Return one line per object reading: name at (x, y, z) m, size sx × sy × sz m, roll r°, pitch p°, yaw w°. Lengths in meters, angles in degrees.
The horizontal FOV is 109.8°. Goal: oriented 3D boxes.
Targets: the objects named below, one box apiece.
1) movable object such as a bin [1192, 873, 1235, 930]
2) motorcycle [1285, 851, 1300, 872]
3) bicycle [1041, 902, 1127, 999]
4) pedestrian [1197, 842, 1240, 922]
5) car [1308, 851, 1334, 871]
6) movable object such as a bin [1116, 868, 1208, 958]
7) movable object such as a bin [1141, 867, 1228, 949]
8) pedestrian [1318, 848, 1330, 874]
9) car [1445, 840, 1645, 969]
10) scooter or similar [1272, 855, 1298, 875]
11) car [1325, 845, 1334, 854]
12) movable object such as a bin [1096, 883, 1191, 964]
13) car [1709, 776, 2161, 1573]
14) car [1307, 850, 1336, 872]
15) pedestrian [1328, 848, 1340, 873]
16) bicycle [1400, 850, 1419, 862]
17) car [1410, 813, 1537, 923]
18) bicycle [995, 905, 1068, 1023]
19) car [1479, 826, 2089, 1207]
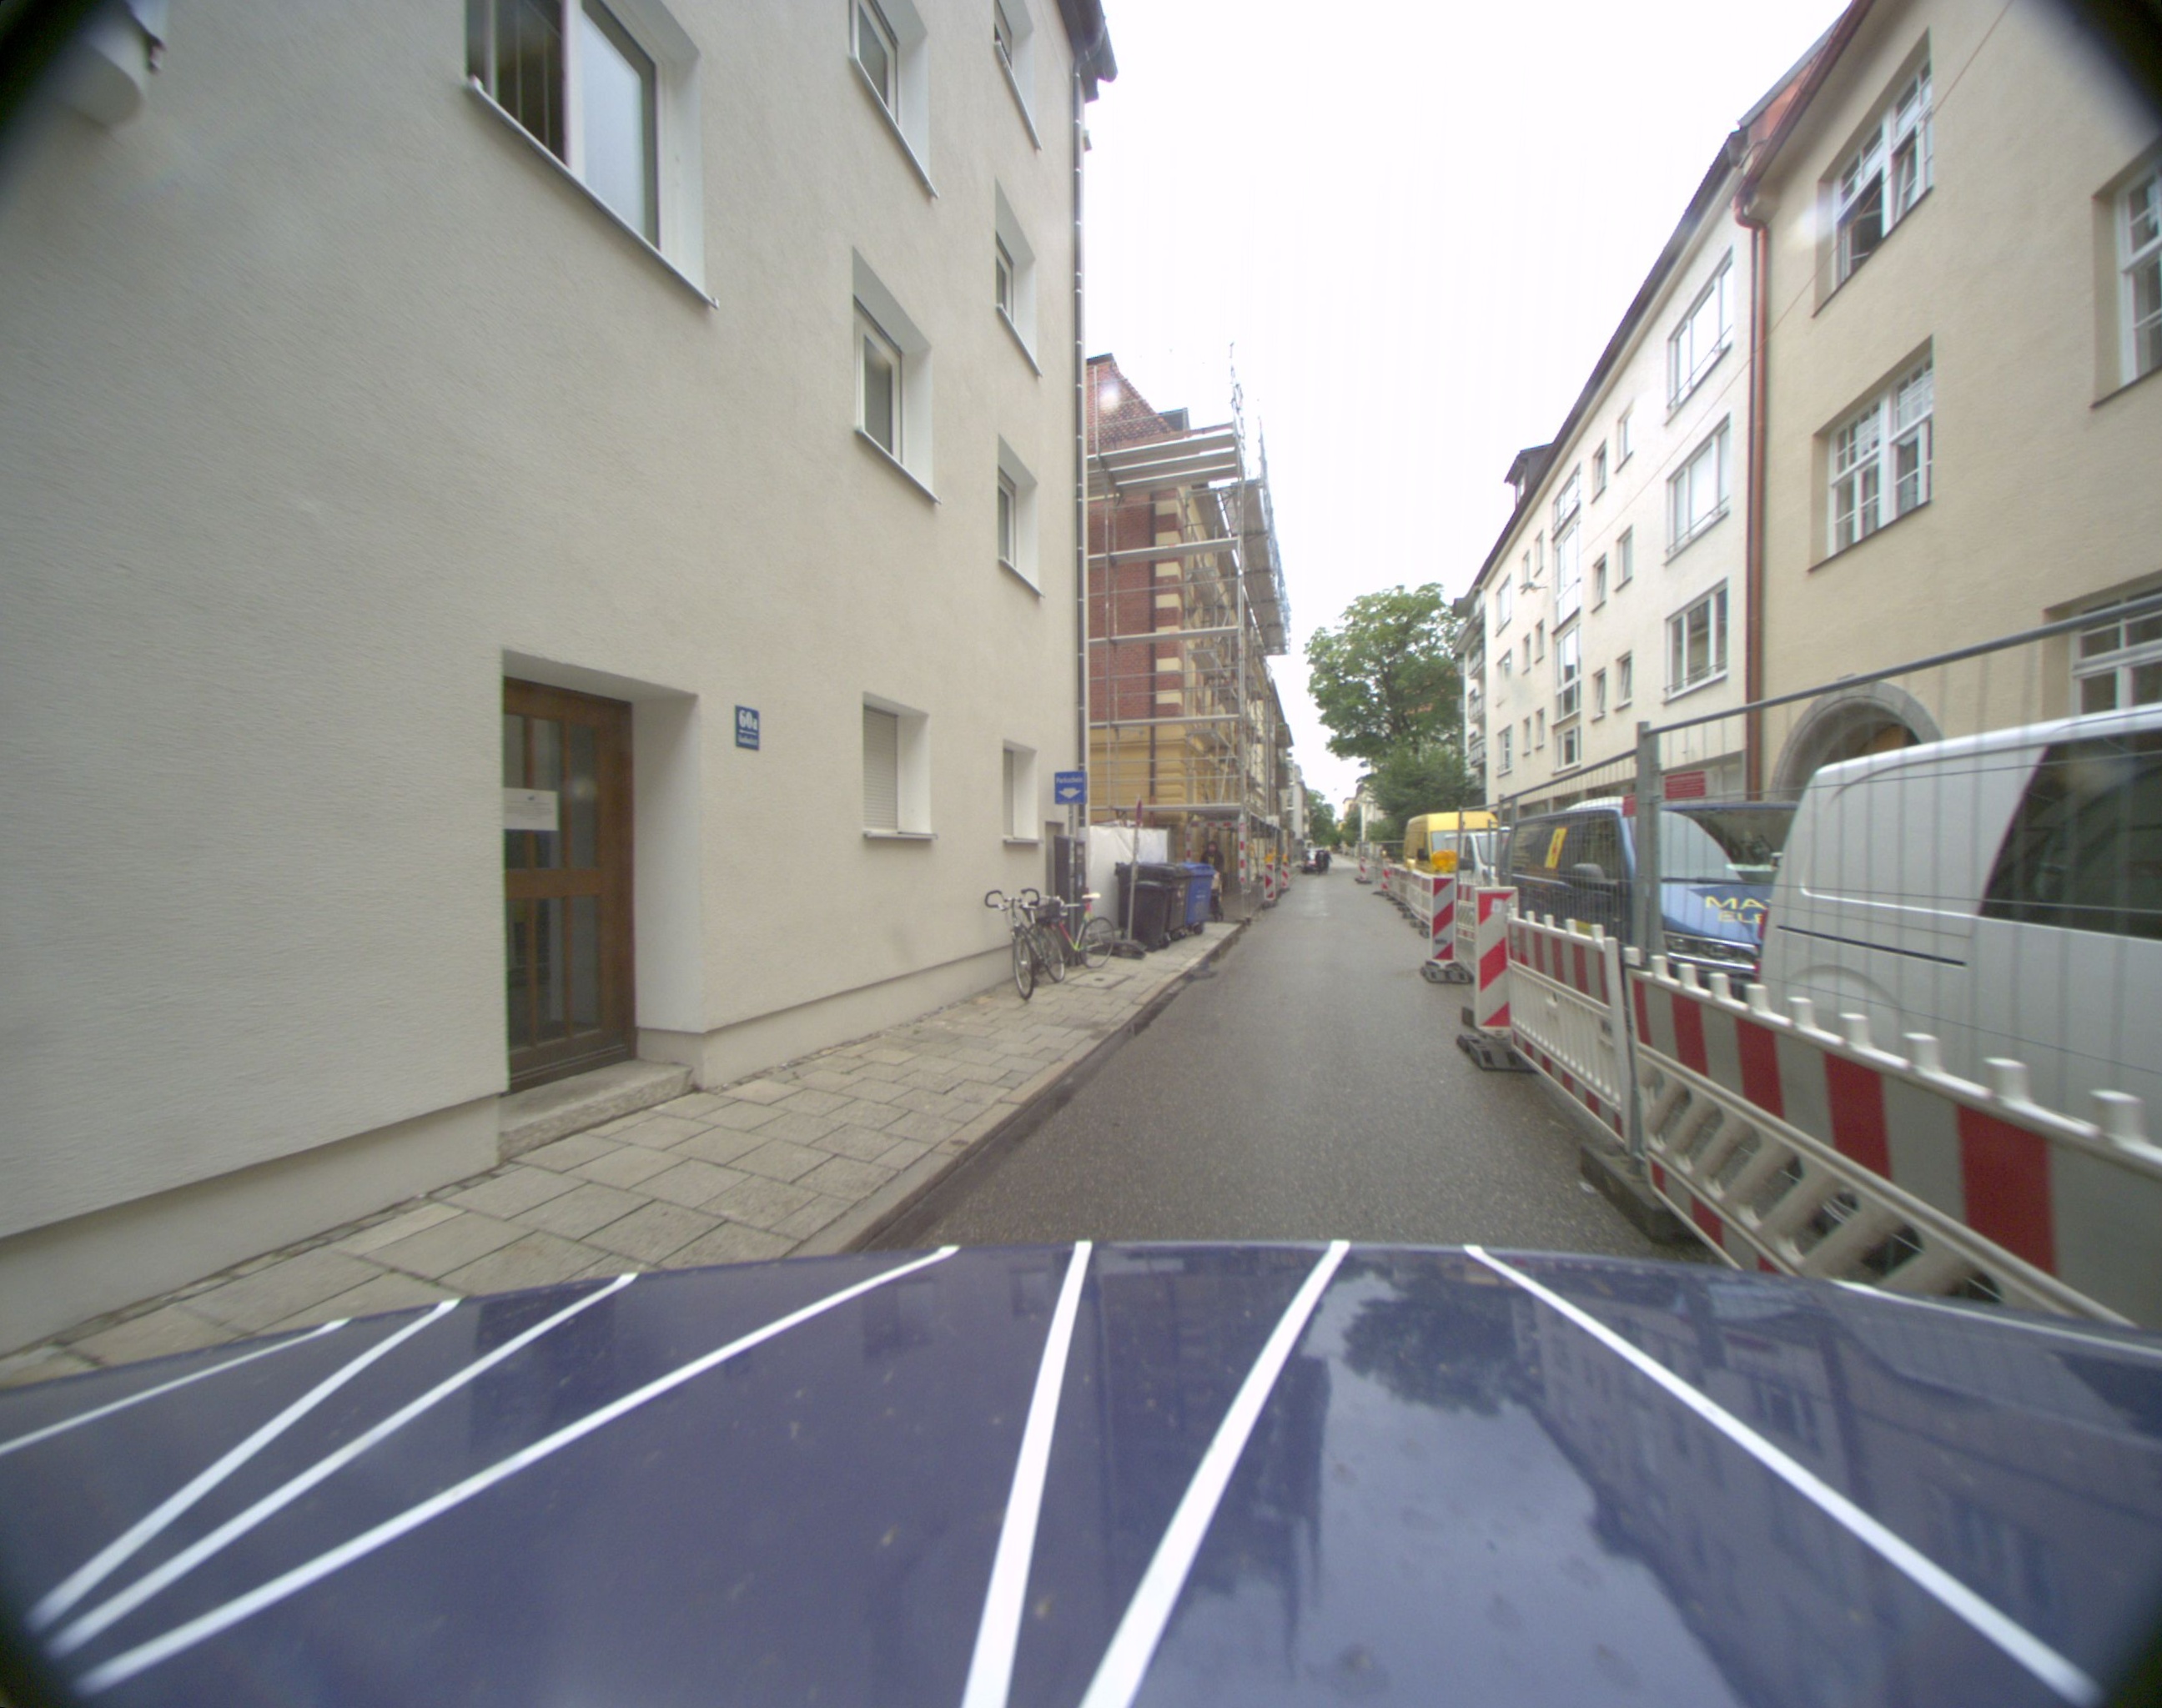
movable object such as a bin at (2.950, 1.025, 16.859) m, size 0.730 × 1.134 × 0.989 m, roll 5°, pitch 2°, yaw 17°
motorcycle at (15.667, 0.534, 56.217) m, size 0.805 × 1.415 × 1.935 m, roll 6°, pitch 2°, yaw 19°
bicycle at (0.062, 1.117, 9.121) m, size 0.280 × 0.986 × 1.436 m, roll 4°, pitch 2°, yaw 31°
pedestrian at (3.181, 0.622, 17.504) m, size 0.730 × 1.743 × 0.989 m, roll 4°, pitch 2°, yaw 17°
car at (19.074, 0.527, 60.354) m, size 1.770 × 1.452 × 4.386 m, roll -2°, pitch 0°, yaw 20°
movable object such as a bin at (1.377, 0.947, 12.834) m, size 1.126 × 1.338 × 1.173 m, roll 4°, pitch 2°, yaw 26°
movable object such as a bin at (1.916, 0.954, 13.962) m, size 1.086 × 1.339 × 1.320 m, roll 4°, pitch 2°, yaw 31°
pedestrian at (16.353, 0.473, 51.121) m, size 0.659 × 1.676 × 0.587 m, roll -2°, pitch 0°, yaw 24°
car at (8.162, 0.728, 13.926) m, size 1.919 × 1.886 × 4.796 m, roll 2°, pitch 1°, yaw 17°
scooter or similar at (12.682, 0.697, 47.204) m, size 1.611 × 1.177 × 0.494 m, roll 2°, pitch 2°, yaw -31°
car at (40.785, -0.778, 124.621) m, size 1.378 × 1.501 × 3.457 m, roll 1°, pitch 1°, yaw 18°
movable object such as a bin at (0.988, 1.064, 11.963) m, size 1.211 × 1.089 × 0.791 m, roll 4°, pitch 2°, yaw 26°
car at (3.328, 0.765, 0.986) m, size 1.907 × 1.886 × 5.094 m, roll 0°, pitch 1°, yaw 15°
car at (17.546, 0.497, 55.331) m, size 1.774 × 1.515 × 4.072 m, roll -2°, pitch 0°, yaw 20°
pedestrian at (17.484, 0.453, 52.499) m, size 0.659 × 1.676 × 0.547 m, roll -2°, pitch 0°, yaw 24°
bicycle at (36.418, 0.221, 84.239) m, size 1.809 × 1.253 × 0.432 m, roll 0°, pitch 1°, yaw 17°
car at (10.618, 0.291, 21.131) m, size 1.996 × 2.564 × 6.745 m, roll 1°, pitch 1°, yaw 18°
bicycle at (-0.486, 1.087, 7.888) m, size 0.404 × 0.986 × 1.330 m, roll 3°, pitch 2°, yaw 9°
car at (5.024, 0.785, 6.693) m, size 1.729 × 1.886 × 5.516 m, roll 2°, pitch 1°, yaw 18°
